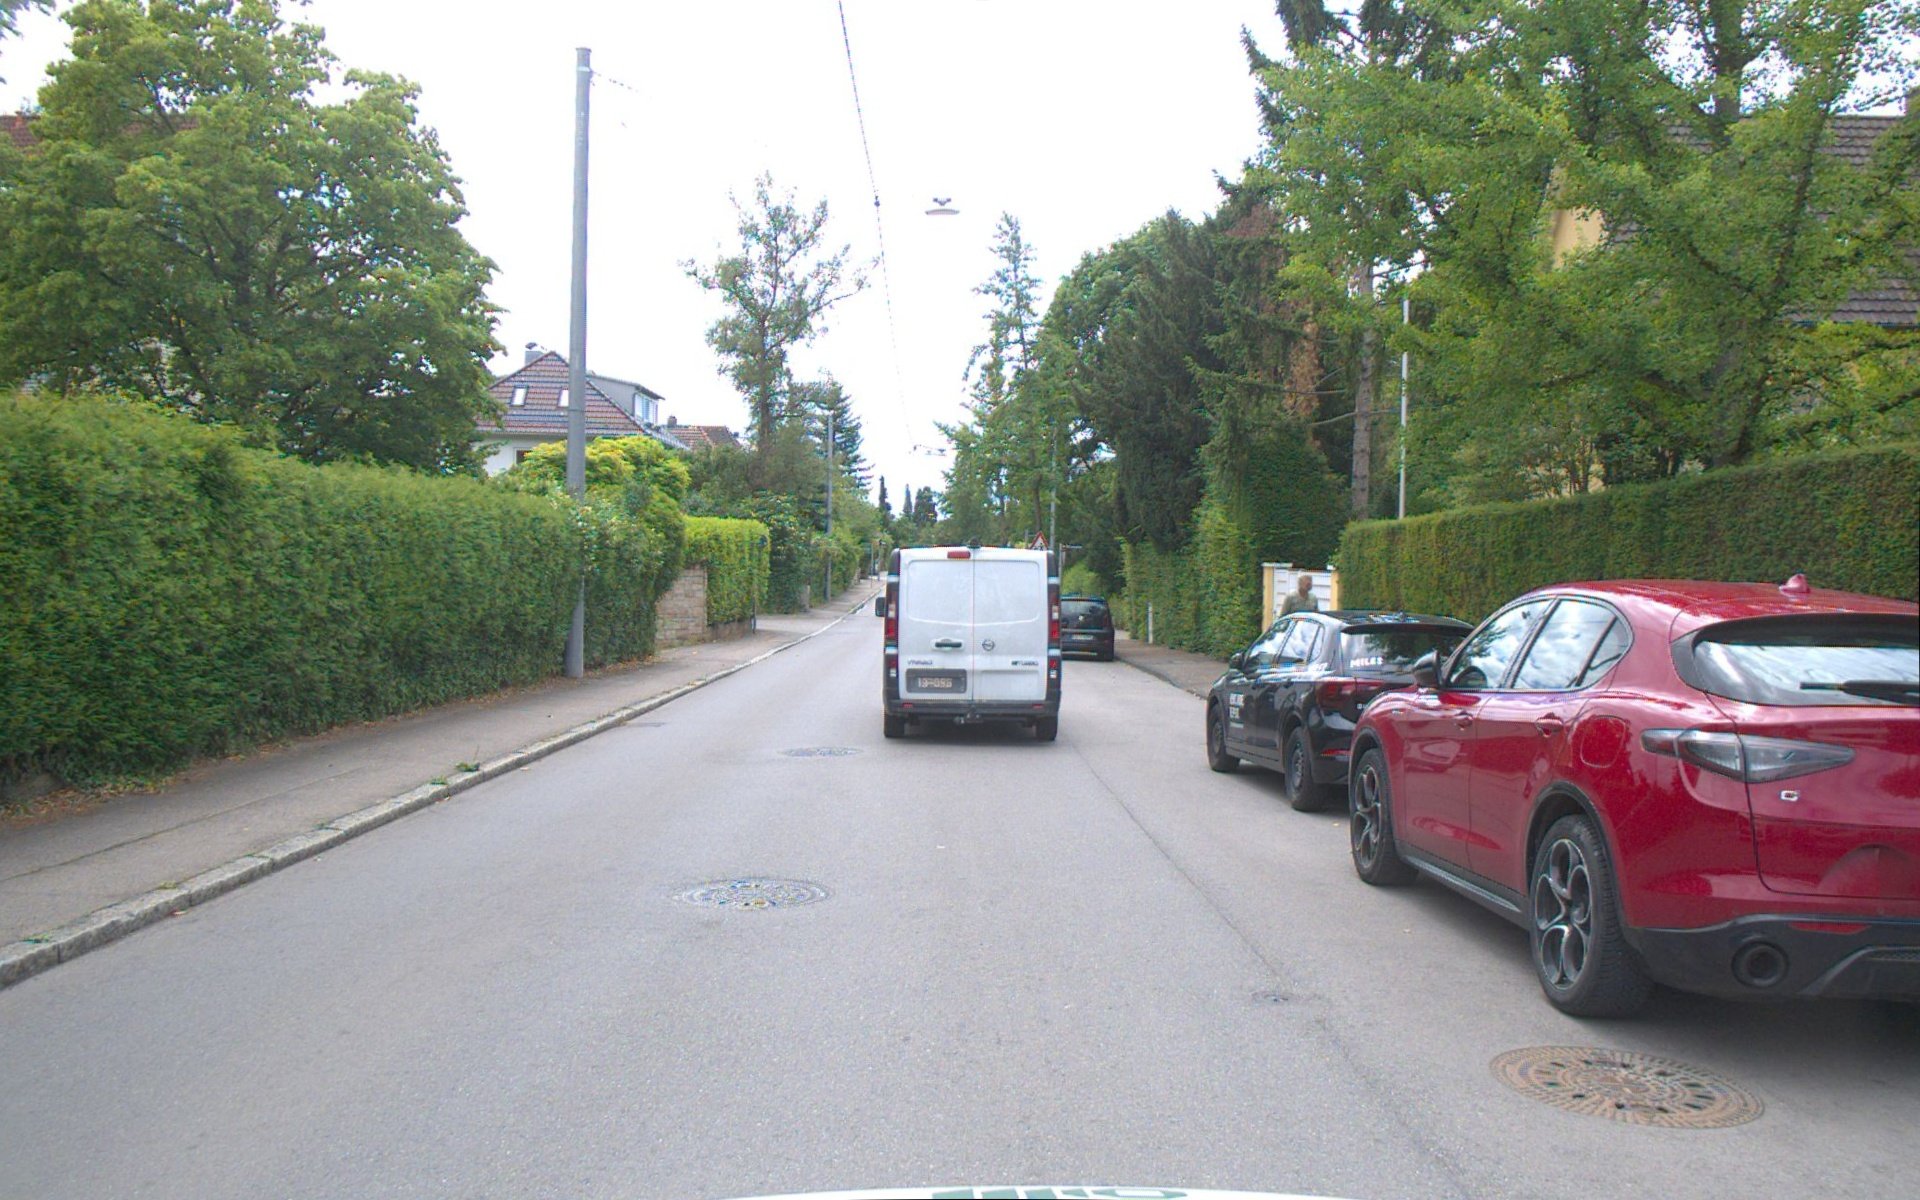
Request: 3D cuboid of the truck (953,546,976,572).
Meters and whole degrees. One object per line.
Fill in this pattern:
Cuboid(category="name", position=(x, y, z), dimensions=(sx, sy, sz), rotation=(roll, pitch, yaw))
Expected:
Cuboid(category="truck", position=(0.464, -4.203, 170.043), dimensions=(2.143, 2.514, 7.430), rotation=(2, 2, -1))

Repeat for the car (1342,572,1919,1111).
Cuboid(category="car", position=(3.189, 0.692, 7.353), dimensions=(1.850, 1.608, 4.765), rotation=(-1, 1, 0))

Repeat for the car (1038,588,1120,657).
Cuboid(category="car", position=(2.811, 0.496, 39.691), dimensions=(1.590, 1.498, 3.740), rotation=(1, 1, -1))

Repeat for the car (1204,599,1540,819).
Cuboid(category="car", position=(3.093, 0.734, 13.239), dimensions=(1.644, 1.431, 4.053), rotation=(-1, 1, 0))

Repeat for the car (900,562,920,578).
Cuboid(category="car", position=(-4.922, -2.938, 162.862), dimensions=(1.768, 1.456, 4.302), rotation=(-2, 2, 1))

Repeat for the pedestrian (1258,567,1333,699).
Cuboid(category="pedestrian", position=(4.523, 0.429, 22.304), dimensions=(0.658, 1.728, 0.914), rotation=(0, 1, -15))

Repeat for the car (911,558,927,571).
Cuboid(category="car", position=(-4.814, -4.141, 192.044), dimensions=(1.769, 1.456, 4.117), rotation=(-2, 2, -2))

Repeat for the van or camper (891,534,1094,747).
Cuboid(category="van or camper", position=(0.252, 0.367, 18.339), dimensions=(1.900, 1.988, 4.764), rotation=(2, 0, -2))
